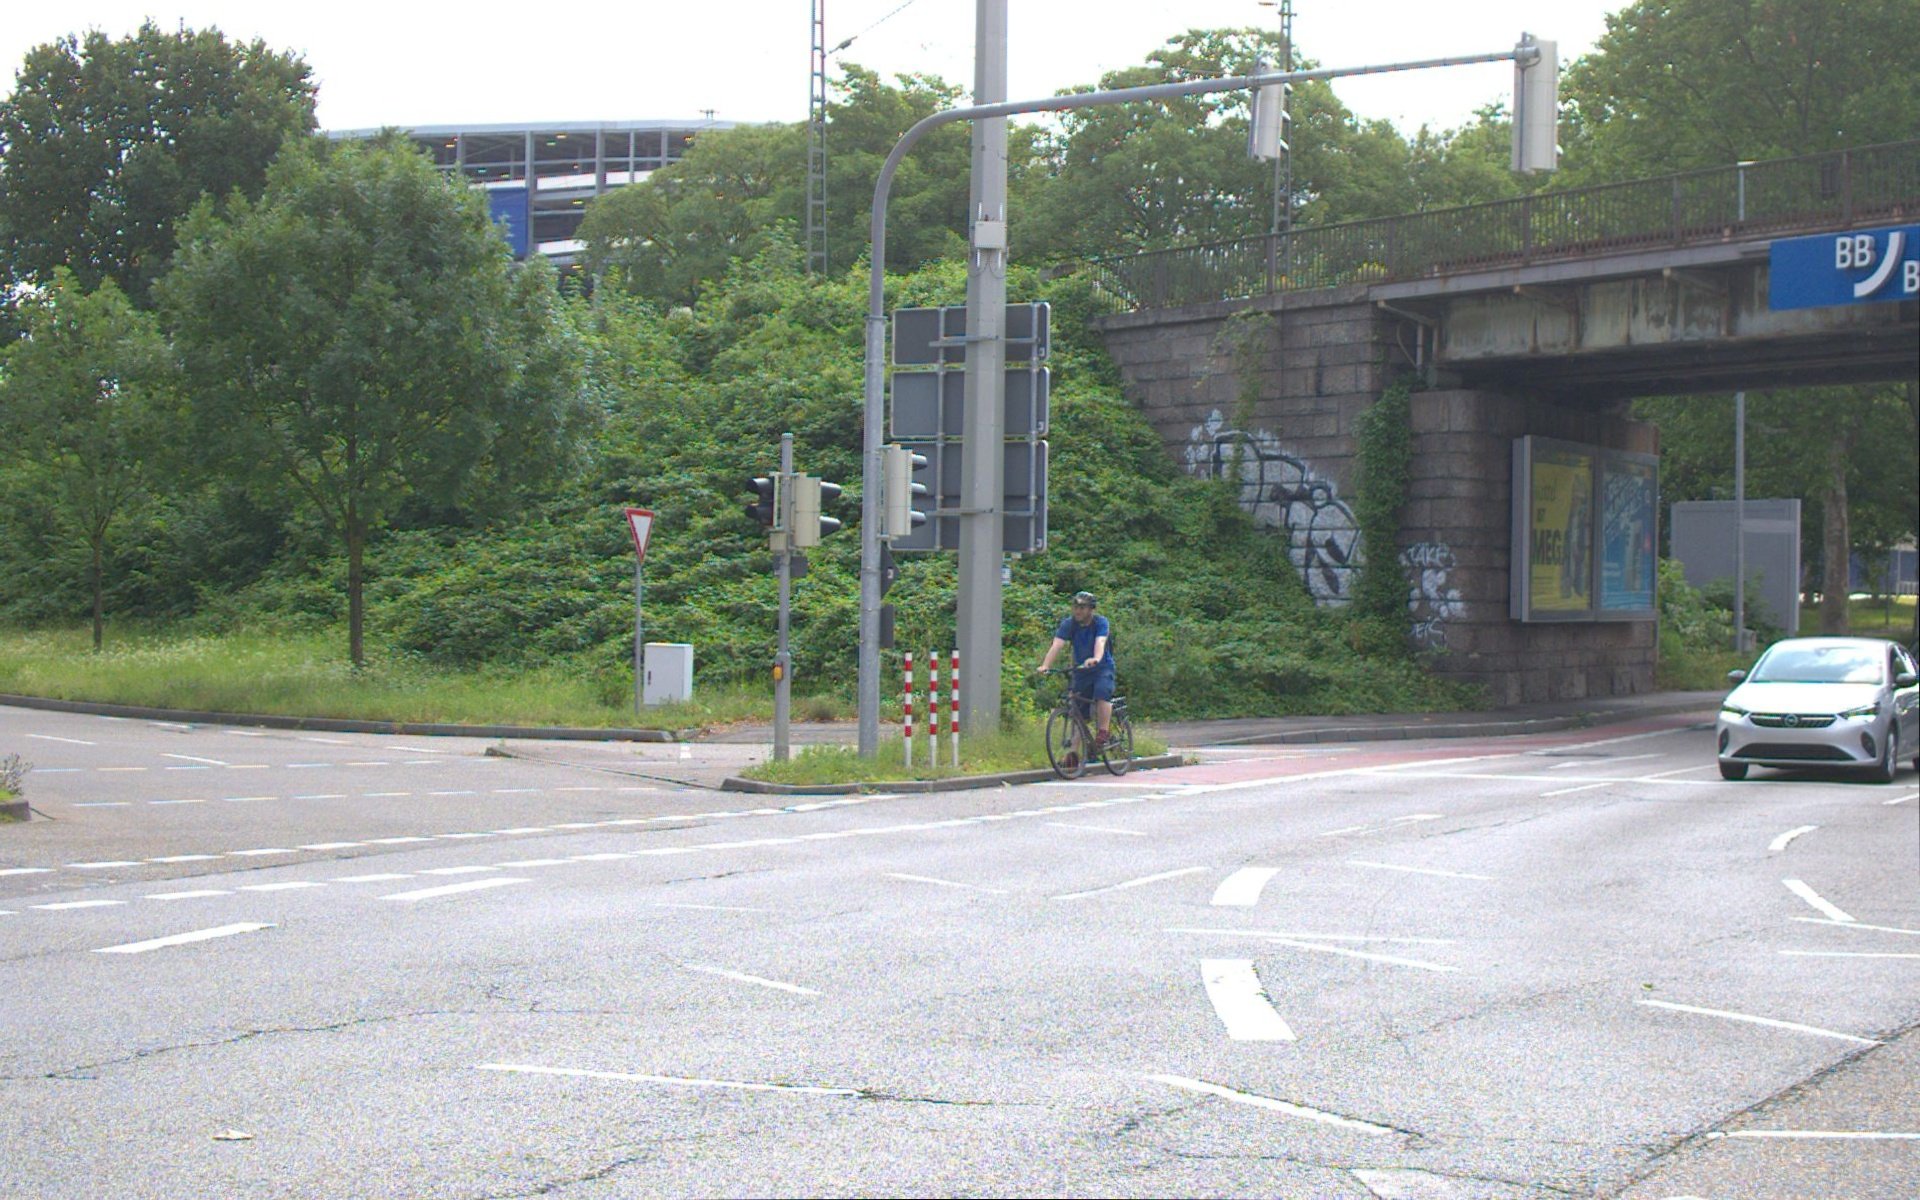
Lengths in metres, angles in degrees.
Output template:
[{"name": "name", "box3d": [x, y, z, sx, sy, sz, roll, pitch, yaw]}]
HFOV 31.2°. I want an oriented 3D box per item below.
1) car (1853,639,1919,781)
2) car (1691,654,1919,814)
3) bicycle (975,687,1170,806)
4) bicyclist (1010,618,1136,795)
[{"name": "car", "box3d": [12.297, 1.313, 42.728, 1.767, 1.578, 4.659, -1, 0, 21]}, {"name": "car", "box3d": [8.832, 1.334, 35.513, 1.704, 1.471, 3.995, 0, 0, 24]}, {"name": "bicycle", "box3d": [1.134, 1.430, 34.003, 0.844, 1.090, 2.314, 1, 0, 33]}, {"name": "bicyclist", "box3d": [1.116, 1.053, 33.998, 0.844, 1.673, 0.822, -4, 0, 33]}]
